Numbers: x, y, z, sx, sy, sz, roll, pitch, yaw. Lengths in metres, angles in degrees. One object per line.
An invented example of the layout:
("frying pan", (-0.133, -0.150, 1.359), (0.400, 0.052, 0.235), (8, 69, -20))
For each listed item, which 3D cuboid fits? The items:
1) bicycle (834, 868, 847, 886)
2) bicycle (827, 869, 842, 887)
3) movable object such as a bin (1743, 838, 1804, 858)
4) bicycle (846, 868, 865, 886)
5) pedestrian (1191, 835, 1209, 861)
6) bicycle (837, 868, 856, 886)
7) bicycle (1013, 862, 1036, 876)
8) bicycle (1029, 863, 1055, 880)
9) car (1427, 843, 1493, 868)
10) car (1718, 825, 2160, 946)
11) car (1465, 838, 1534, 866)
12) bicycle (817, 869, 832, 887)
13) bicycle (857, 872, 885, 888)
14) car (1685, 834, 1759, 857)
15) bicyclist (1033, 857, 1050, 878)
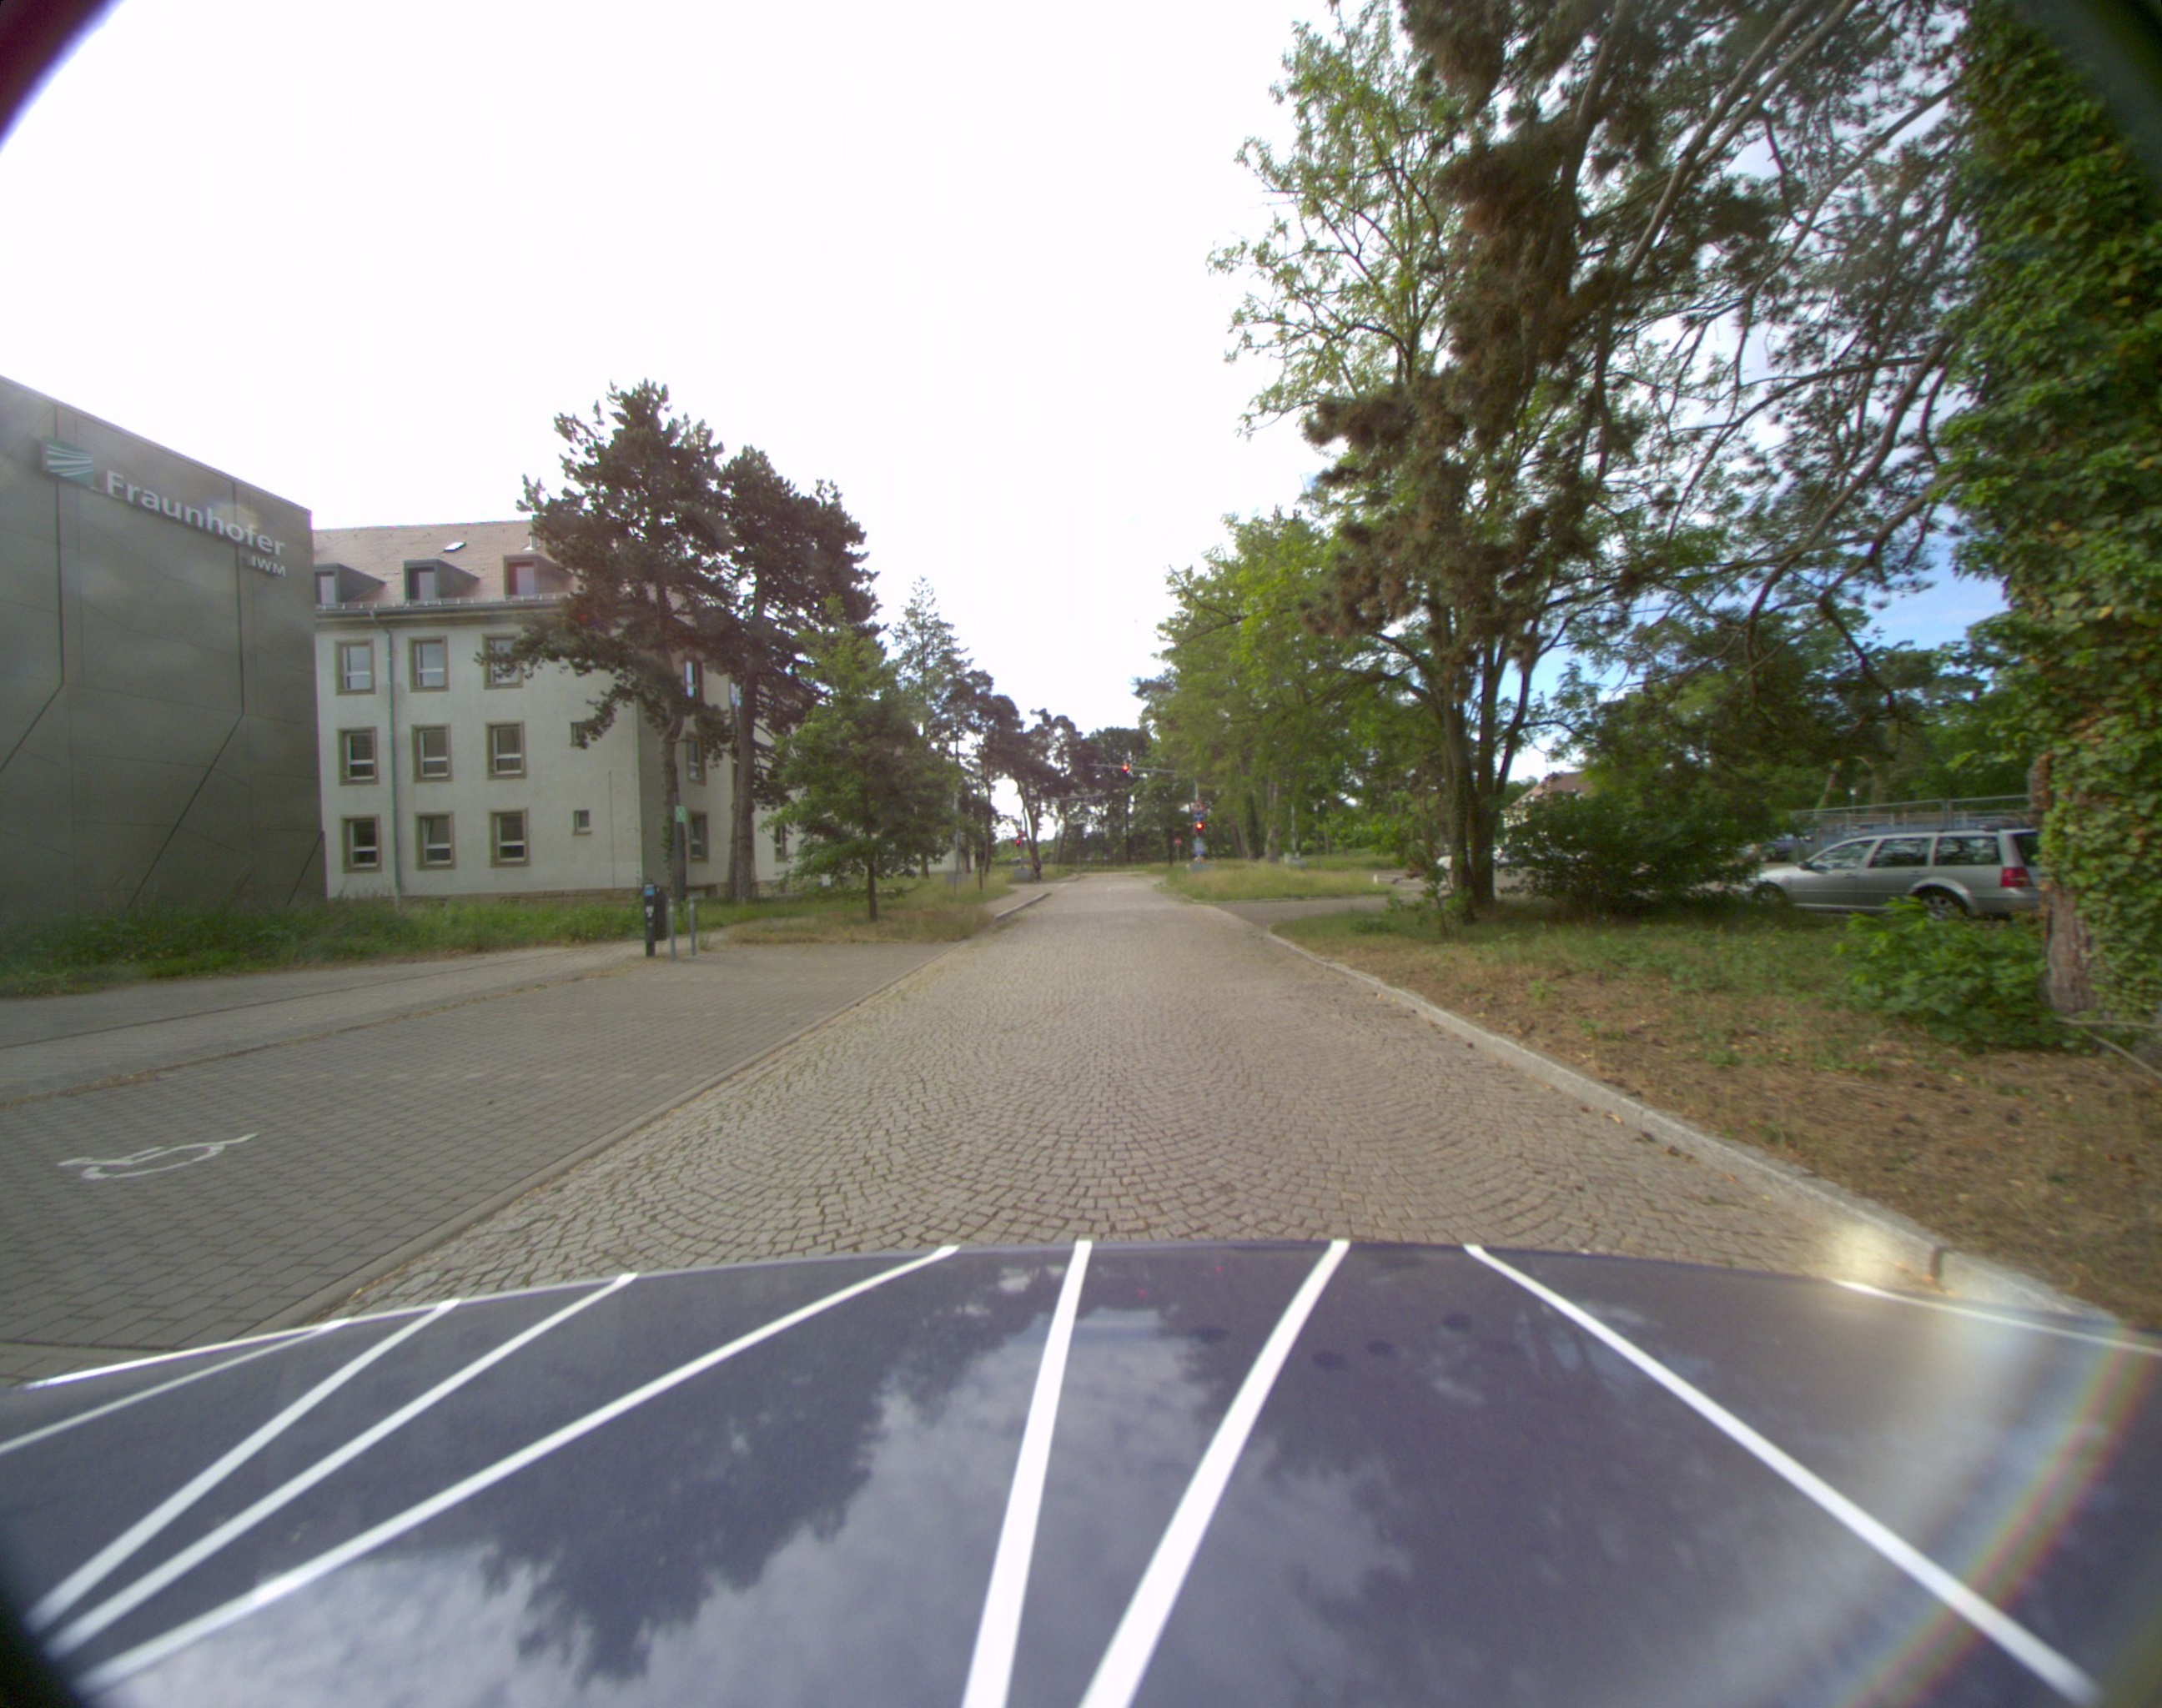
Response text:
("bicycle", (-18.366, 1.771, 58.038), (0.482, 1.324, 1.837), (-2, 0, -3))
("bicycle", (-18.798, 1.799, 58.063), (0.572, 1.324, 1.837), (-2, 0, -3))
("movable object such as a bin", (32.891, -0.278, 36.116), (1.041, 0.927, 1.935), (-1, 0, -5))
("bicycle", (-17.240, 1.727, 58.107), (0.572, 1.324, 1.839), (-2, 0, 10))
("pedestrian", (7.120, -0.368, 45.487), (0.883, 1.508, 0.822), (-2, 0, 16))
("bicycle", (-17.870, 1.740, 58.011), (0.572, 1.324, 1.839), (-2, 0, 10))
("bicycle", (-4.741, 1.235, 63.849), (1.836, 1.079, 0.572), (-2, 2, 0))
("bicycle", (-3.131, 1.412, 61.227), (0.962, 1.268, 2.168), (-2, 0, 34))
("car", (24.230, 0.138, 48.837), (1.840, 1.441, 4.656), (-2, -2, 0))
("car", (12.594, 0.403, 11.722), (1.720, 1.430, 4.467), (-2, 0, 0))
("car", (26.840, -0.063, 48.938), (1.840, 1.568, 4.586), (-2, -2, 0))
("bicycle", (-19.564, 1.829, 58.023), (0.572, 1.324, 1.837), (-2, 0, -3))
("bicycle", (-15.588, 1.915, 56.390), (1.836, 1.079, 0.573), (-2, 2, 5))
("car", (50.091, -0.636, 59.492), (1.840, 1.564, 4.586), (-2, -2, 0))
("bicyclist", (-3.203, 1.054, 61.201), (0.962, 1.625, 0.919), (-2, 0, 34))
